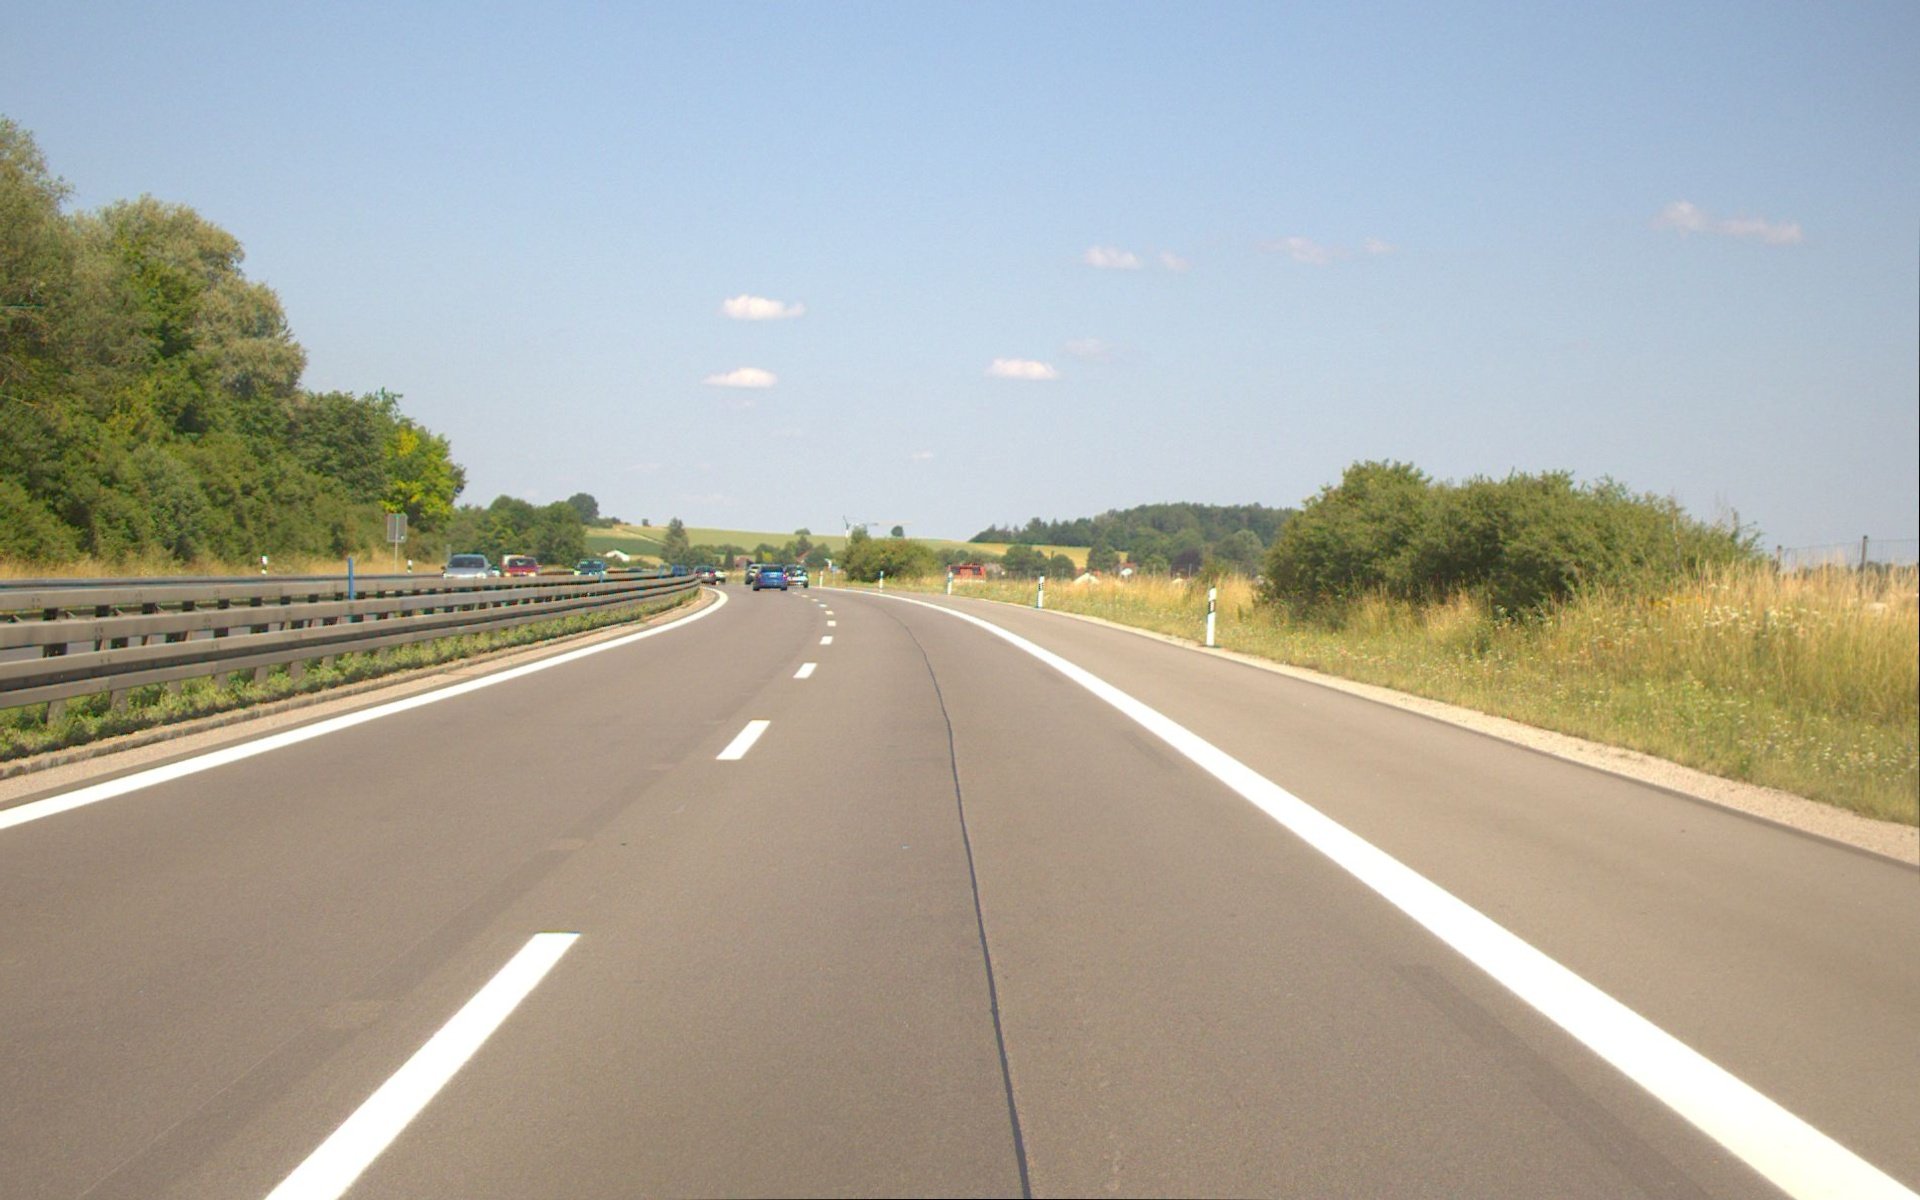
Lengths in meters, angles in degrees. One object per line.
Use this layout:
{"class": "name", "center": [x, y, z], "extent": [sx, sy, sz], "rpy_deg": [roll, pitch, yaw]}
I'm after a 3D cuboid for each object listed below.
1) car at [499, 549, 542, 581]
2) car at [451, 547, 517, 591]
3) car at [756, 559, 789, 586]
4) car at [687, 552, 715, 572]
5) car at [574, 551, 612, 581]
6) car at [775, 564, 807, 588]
{"class": "car", "center": [-21.289, -1.698, 166.721], "extent": [1.649, 1.488, 4.540], "rpy_deg": [1, 1, -3]}
{"class": "car", "center": [-18.360, -1.209, 132.723], "extent": [1.993, 1.607, 4.637], "rpy_deg": [1, 1, -1]}
{"class": "car", "center": [-10.368, -1.517, 189.886], "extent": [1.676, 1.448, 3.592], "rpy_deg": [1, 0, -1]}
{"class": "car", "center": [-19.529, -2.837, 258.905], "extent": [1.829, 1.448, 3.592], "rpy_deg": [1, 0, 0]}
{"class": "car", "center": [-18.966, -1.746, 177.687], "extent": [1.649, 1.488, 4.540], "rpy_deg": [1, 1, -3]}
{"class": "car", "center": [-10.682, -1.503, 217.228], "extent": [1.675, 1.448, 3.593], "rpy_deg": [1, 0, -7]}
